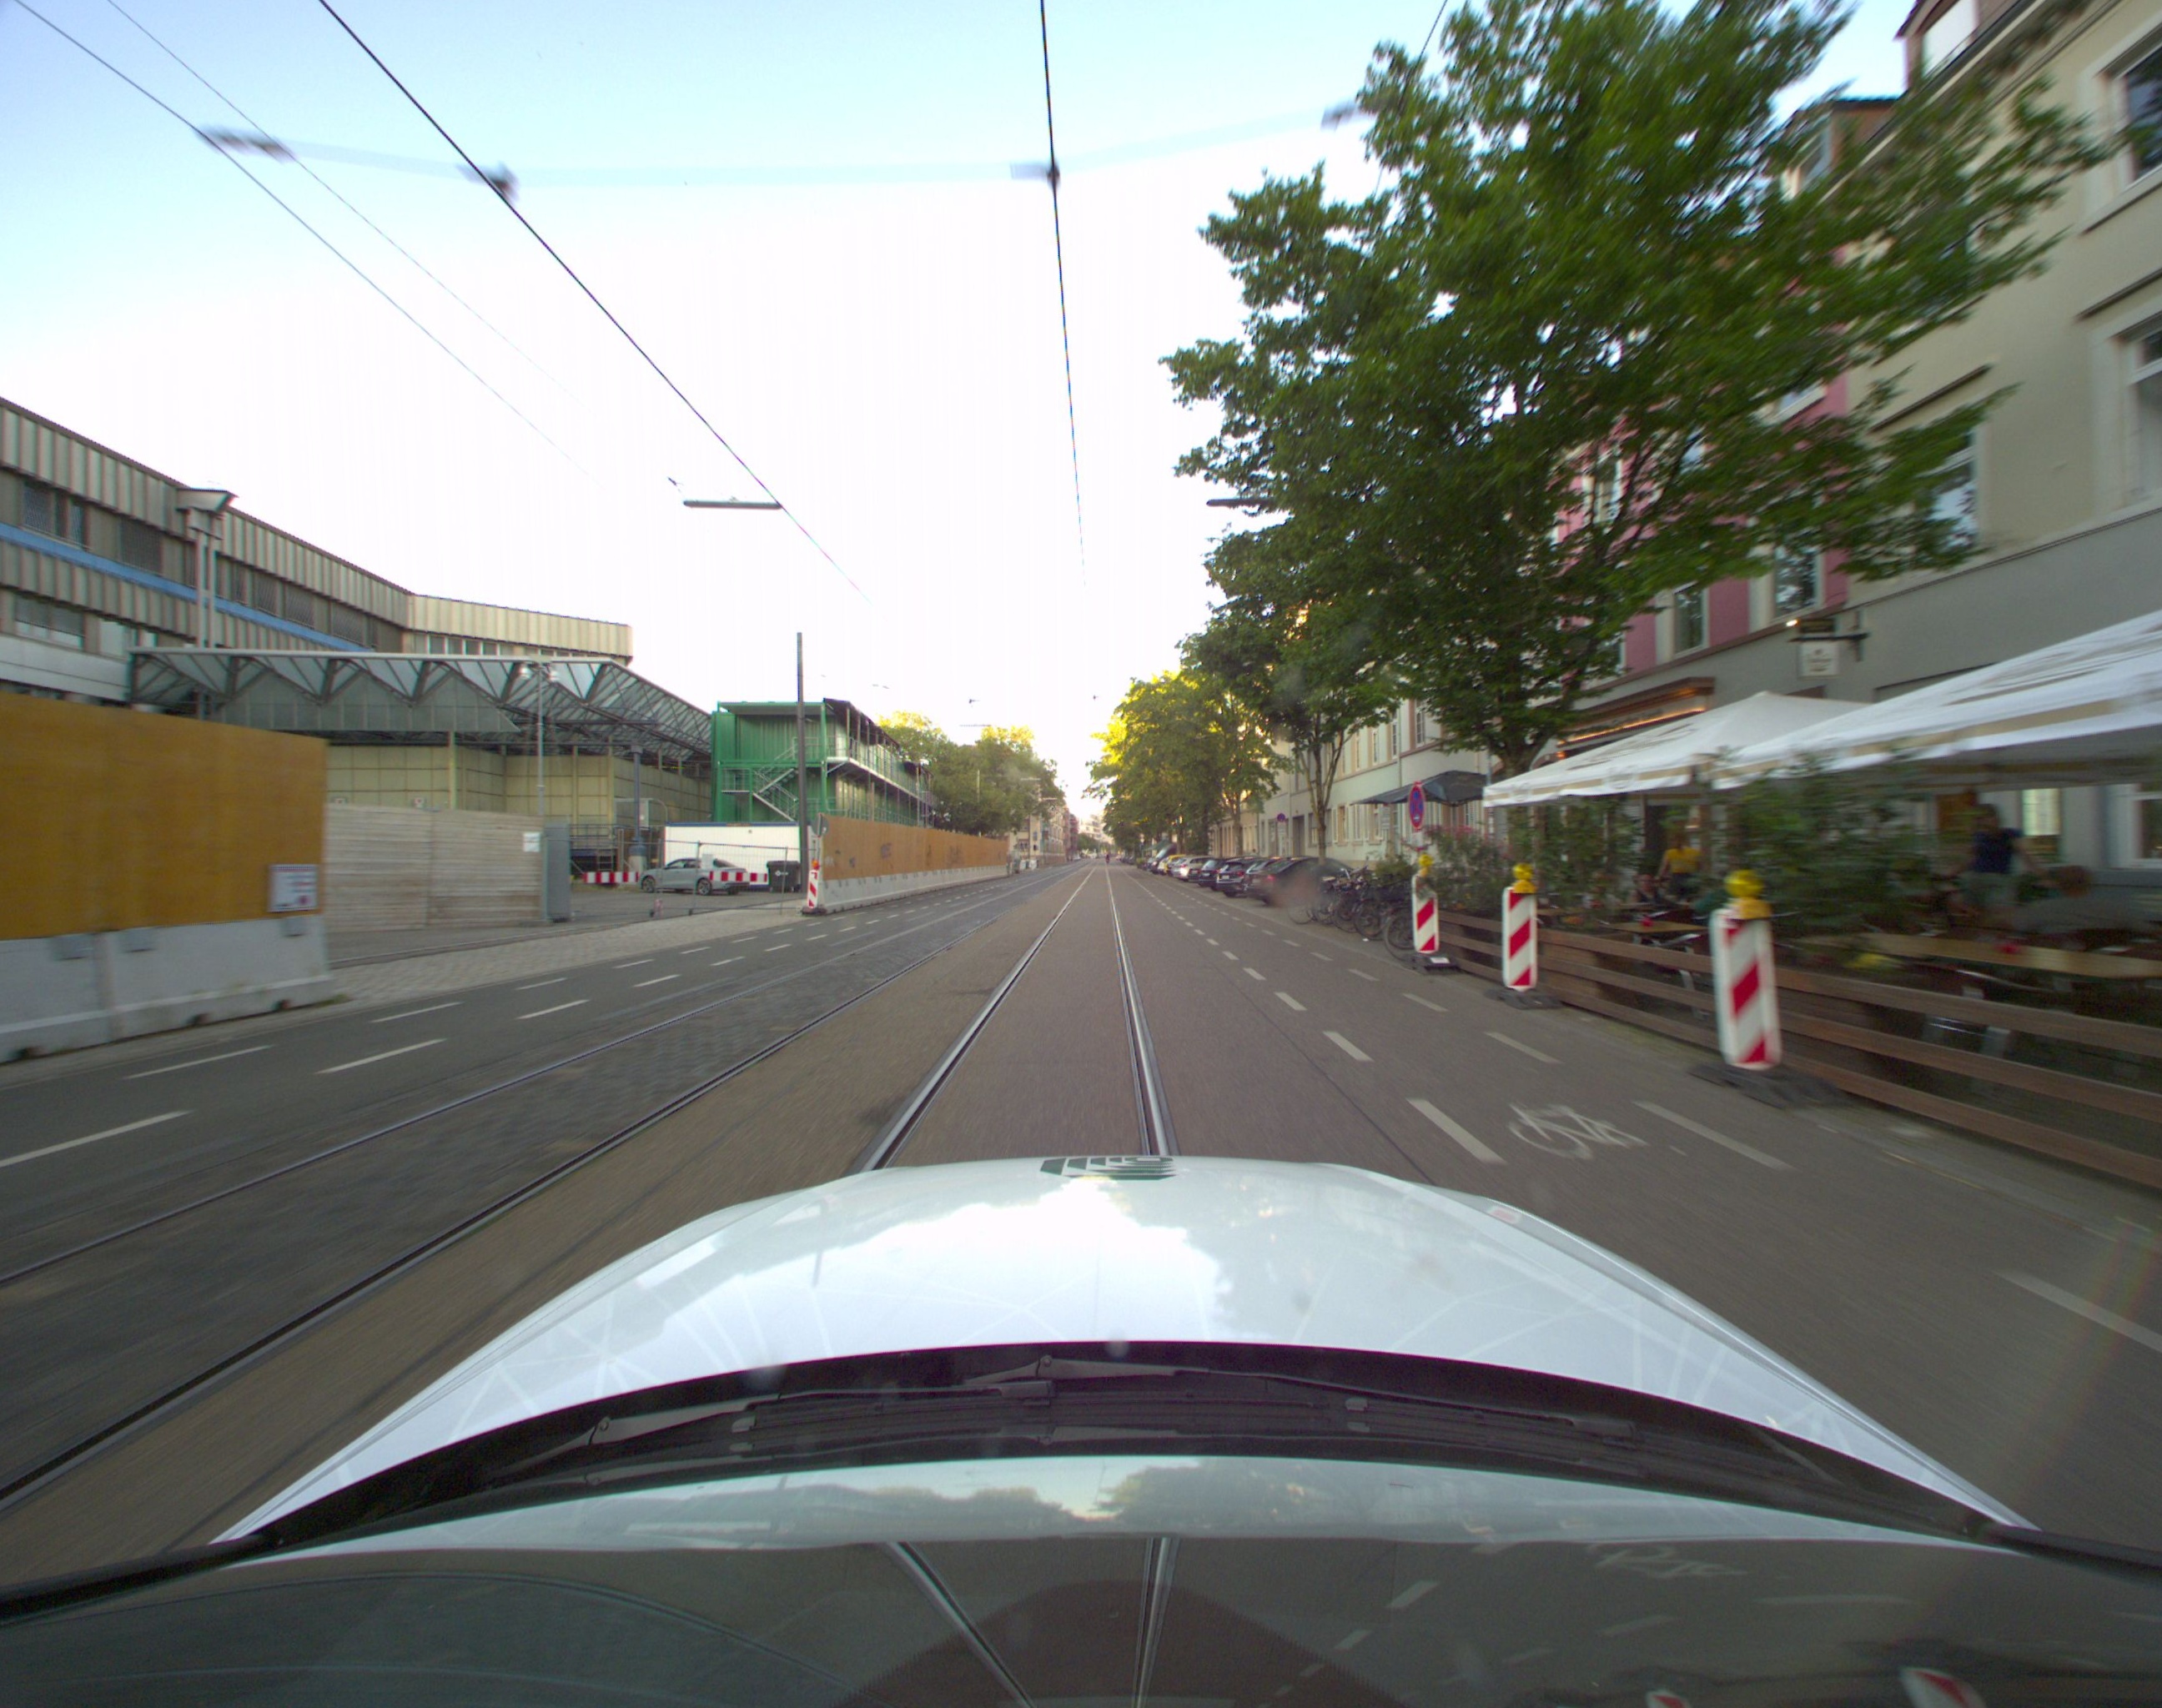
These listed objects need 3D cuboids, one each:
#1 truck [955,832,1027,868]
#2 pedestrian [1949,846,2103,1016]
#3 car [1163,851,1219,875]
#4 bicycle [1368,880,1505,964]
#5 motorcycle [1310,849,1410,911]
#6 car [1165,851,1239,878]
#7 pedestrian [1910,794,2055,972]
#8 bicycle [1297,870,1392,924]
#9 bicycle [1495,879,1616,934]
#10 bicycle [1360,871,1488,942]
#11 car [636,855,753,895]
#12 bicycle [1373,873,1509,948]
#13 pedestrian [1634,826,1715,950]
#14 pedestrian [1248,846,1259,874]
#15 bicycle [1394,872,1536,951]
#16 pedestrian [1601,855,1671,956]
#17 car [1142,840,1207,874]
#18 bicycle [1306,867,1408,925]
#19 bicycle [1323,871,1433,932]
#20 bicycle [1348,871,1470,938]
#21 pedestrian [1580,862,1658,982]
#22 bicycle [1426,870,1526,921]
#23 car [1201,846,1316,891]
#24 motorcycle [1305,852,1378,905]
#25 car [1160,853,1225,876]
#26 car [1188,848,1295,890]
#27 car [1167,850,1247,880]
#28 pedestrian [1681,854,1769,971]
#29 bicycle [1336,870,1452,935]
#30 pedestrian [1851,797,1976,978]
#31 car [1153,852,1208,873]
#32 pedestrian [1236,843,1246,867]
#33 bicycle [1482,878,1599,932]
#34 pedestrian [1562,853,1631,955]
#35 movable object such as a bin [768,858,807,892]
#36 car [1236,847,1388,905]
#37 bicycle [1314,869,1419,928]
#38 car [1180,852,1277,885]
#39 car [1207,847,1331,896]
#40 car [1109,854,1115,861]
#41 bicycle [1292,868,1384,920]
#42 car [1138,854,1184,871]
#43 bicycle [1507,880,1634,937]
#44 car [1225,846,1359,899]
[{"bbox_3d":[-9.198,-0.416,83.574,7.039,3.480,2.539,1,0,-2],"label":"truck"},{"bbox_3d":[7.789,0.593,6.727,0.553,1.306,0.709,0,0,-26],"label":"pedestrian"},{"bbox_3d":[8.281,0.661,61.590,3.935,1.619,1.922,-3,-1,2],"label":"car"},{"bbox_3d":[5.076,0.961,11.684,1.673,1.031,0.557,-4,0,-1],"label":"bicycle"},{"bbox_3d":[7.253,0.656,21.227,2.215,1.461,0.967,-3,0,-1],"label":"motorcycle"},{"bbox_3d":[7.738,0.668,52.046,4.267,1.560,1.884,-2,-1,-22],"label":"car"},{"bbox_3d":[9.363,0.286,8.495,0.549,1.763,0.852,0,0,-3],"label":"pedestrian"},{"bbox_3d":[5.824,0.936,18.057,1.858,1.031,0.591,-4,0,-1],"label":"bicycle"},{"bbox_3d":[7.856,0.863,13.500,1.810,0.872,0.325,-1,-1,-1],"label":"bicycle"},{"bbox_3d":[5.835,0.886,13.896,1.881,1.031,0.608,-4,0,-1],"label":"bicycle"},{"bbox_3d":[-15.191,0.804,32.073,3.965,1.402,1.743,1,0,16],"label":"car"},{"bbox_3d":[5.812,0.899,13.210,1.881,1.031,0.608,-4,0,-1],"label":"bicycle"},{"bbox_3d":[8.769,0.482,12.067,0.549,1.763,0.894,0,0,1],"label":"pedestrian"},{"bbox_3d":[11.322,0.375,53.527,0.563,1.814,0.607,-1,0,3],"label":"pedestrian"},{"bbox_3d":[5.811,0.853,12.382,1.810,1.031,0.608,-4,0,-1],"label":"bicycle"},{"bbox_3d":[7.384,0.664,10.854,0.501,1.292,0.599,-1,0,-4],"label":"pedestrian"},{"bbox_3d":[8.003,0.281,70.011,5.105,2.642,2.011,-3,-1,-16],"label":"car"},{"bbox_3d":[5.874,0.875,17.374,1.881,1.067,0.674,-4,0,-1],"label":"bicycle"},{"bbox_3d":[5.816,0.919,16.000,1.881,1.031,0.608,-4,0,-1],"label":"bicycle"},{"bbox_3d":[5.846,0.883,14.557,1.881,1.031,0.608,-4,0,-1],"label":"bicycle"},{"bbox_3d":[6.007,0.738,9.113,0.499,1.292,0.601,-1,0,6],"label":"pedestrian"},{"bbox_3d":[7.932,0.832,16.382,1.810,0.872,0.325,-4,0,-1],"label":"bicycle"},{"bbox_3d":[7.204,0.576,33.051,4.134,1.470,1.972,-4,0,-23],"label":"car"},{"bbox_3d":[7.196,0.664,22.516,1.780,1.343,0.533,-3,0,-1],"label":"motorcycle"},{"bbox_3d":[7.976,0.748,58.204,4.140,1.425,1.905,-2,-1,-24],"label":"car"},{"bbox_3d":[6.997,0.641,35.509,4.134,1.470,2.000,-4,0,-23],"label":"car"},{"bbox_3d":[7.415,0.650,48.093,4.250,1.549,2.013,-2,0,-10],"label":"car"},{"bbox_3d":[7.308,0.643,9.262,0.595,1.292,0.504,0,0,3],"label":"pedestrian"},{"bbox_3d":[5.829,0.894,15.228,1.881,1.031,0.608,-4,0,-1],"label":"bicycle"},{"bbox_3d":[8.544,0.326,8.378,0.552,1.763,0.711,0,0,-16],"label":"pedestrian"},{"bbox_3d":[7.985,0.671,65.316,3.967,1.486,1.906,-2,-1,-23],"label":"car"},{"bbox_3d":[10.567,0.085,53.899,0.535,1.568,0.814,-1,0,4],"label":"pedestrian"},{"bbox_3d":[7.851,0.868,13.935,1.810,0.872,0.325,-1,-1,-1],"label":"bicycle"},{"bbox_3d":[6.815,0.642,10.788,0.501,1.292,0.599,-1,0,-3],"label":"pedestrian"},{"bbox_3d":[-12.301,0.864,34.157,1.303,1.369,0.783,-1,0,-2],"label":"movable object such as a bin"},{"bbox_3d":[7.156,0.655,25.264,4.173,1.426,1.812,-4,0,-18],"label":"car"},{"bbox_3d":[5.822,0.901,16.645,1.881,1.031,0.608,-4,0,-1],"label":"bicycle"},{"bbox_3d":[7.221,0.687,40.010,4.268,1.392,2.000,-2,0,-22],"label":"car"},{"bbox_3d":[6.984,0.638,30.305,4.129,1.470,1.811,-4,0,-20],"label":"car"},{"bbox_3d":[9.764,1.135,257.285,1.891,2.014,4.001,0,0,2],"label":"car"},{"bbox_3d":[5.869,0.907,18.654,1.897,1.031,0.533,-4,0,-1],"label":"bicycle"},{"bbox_3d":[8.140,0.862,83.244,4.193,1.498,1.993,-2,-1,-23],"label":"car"},{"bbox_3d":[7.827,0.860,13.045,1.809,0.872,0.387,-1,-1,0],"label":"bicycle"},{"bbox_3d":[7.195,0.615,27.930,3.956,1.470,1.991,-4,0,-15],"label":"car"}]
